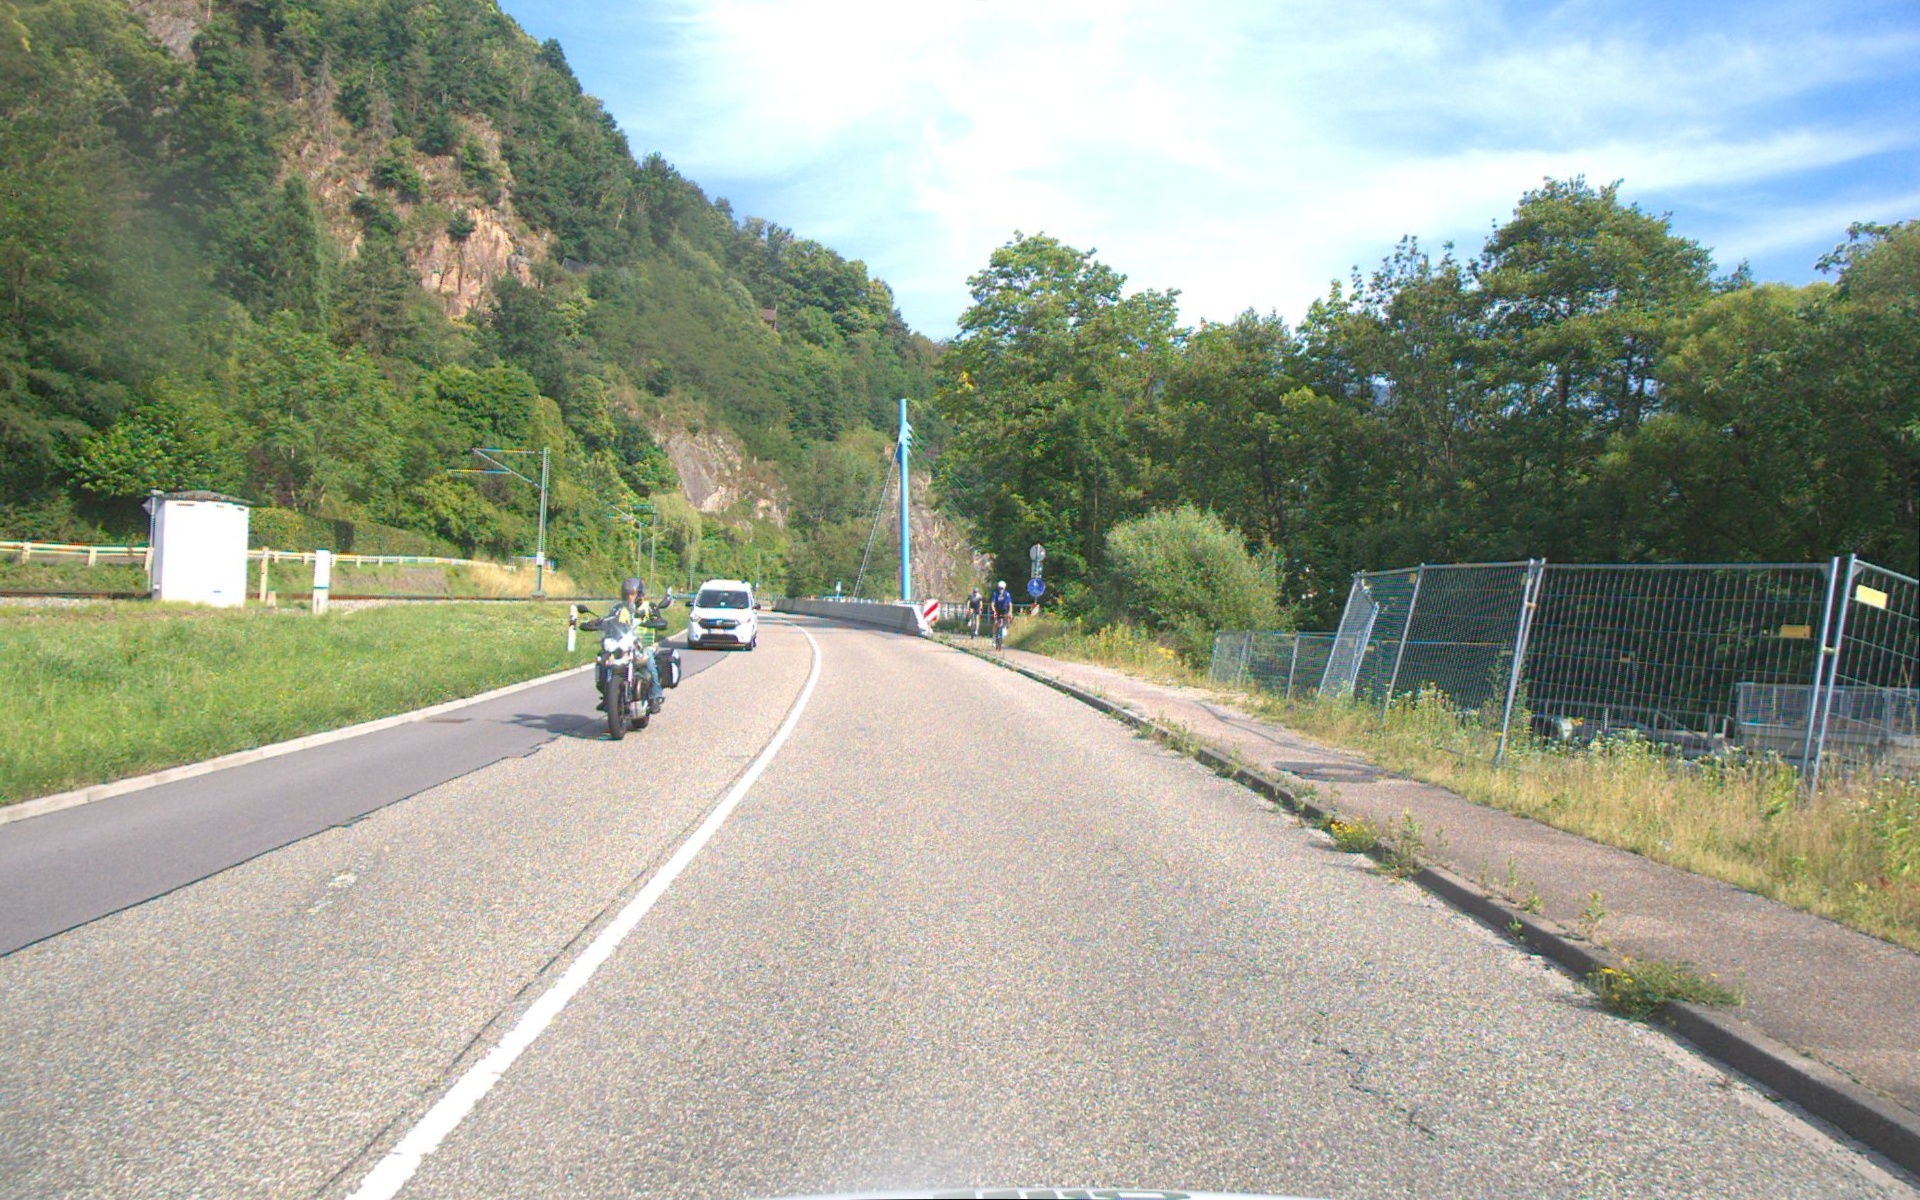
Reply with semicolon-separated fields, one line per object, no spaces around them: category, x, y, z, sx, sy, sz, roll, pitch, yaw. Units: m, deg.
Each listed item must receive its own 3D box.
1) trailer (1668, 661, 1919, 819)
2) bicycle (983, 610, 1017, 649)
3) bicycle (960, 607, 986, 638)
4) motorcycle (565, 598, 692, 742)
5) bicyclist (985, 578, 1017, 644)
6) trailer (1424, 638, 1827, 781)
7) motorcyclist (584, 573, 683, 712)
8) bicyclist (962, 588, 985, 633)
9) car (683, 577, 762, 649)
trailer;12.409;1.917;23.556;2.016;1.854;4.782;3;-1;-8
bicycle;1.055;0.766;43.772;0.636;0.958;1.846;3;0;-6
bicycle;0.423;0.738;54.890;0.588;0.932;1.846;4;0;-6
motorcycle;-3.523;0.699;17.797;0.844;1.407;2.403;1;1;0
bicyclist;1.089;0.278;43.835;0.629;1.682;0.807;4;0;-6
trailer;12.346;1.907;32.389;2.343;2.049;11.488;3;-1;-5
motorcyclist;-3.514;0.438;17.866;0.841;1.447;0.964;1;1;0
bicyclist;0.451;0.340;54.900;0.581;1.425;0.760;4;0;-6
car;-6.294;0.303;44.266;1.833;1.812;4.594;0;1;-5
